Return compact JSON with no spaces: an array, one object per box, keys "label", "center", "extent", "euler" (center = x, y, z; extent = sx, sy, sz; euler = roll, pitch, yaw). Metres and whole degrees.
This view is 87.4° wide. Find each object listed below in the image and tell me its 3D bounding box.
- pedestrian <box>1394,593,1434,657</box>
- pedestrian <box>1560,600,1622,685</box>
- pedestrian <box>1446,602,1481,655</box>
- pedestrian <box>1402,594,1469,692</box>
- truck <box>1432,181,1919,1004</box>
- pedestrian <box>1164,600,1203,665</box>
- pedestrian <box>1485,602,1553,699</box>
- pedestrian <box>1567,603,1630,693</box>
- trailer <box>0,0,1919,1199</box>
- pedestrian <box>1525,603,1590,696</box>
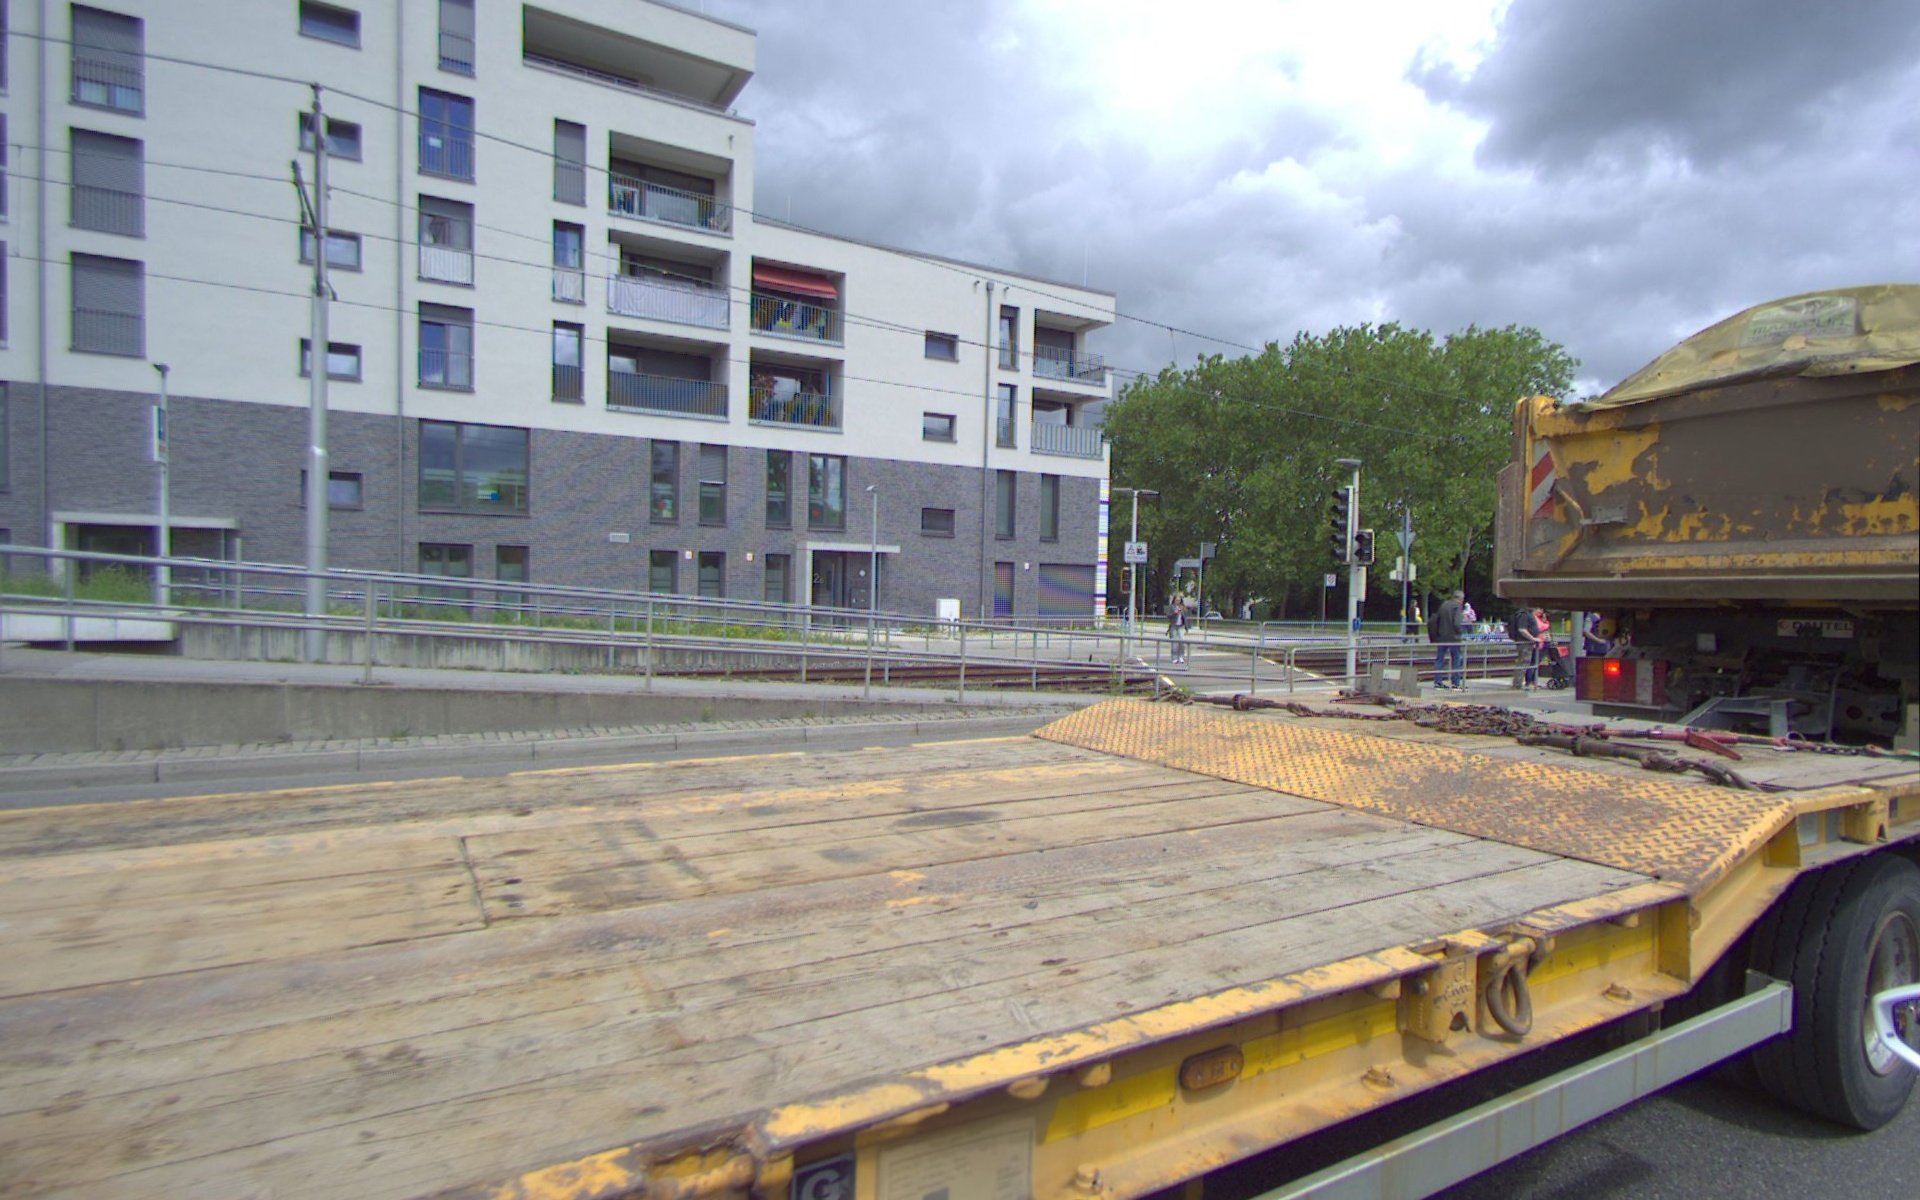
[{"label":"pedestrian","center":[16.204,0.885,35.853],"extent":[0.872,2.234,0.910],"euler":[1,1,-30]},{"label":"pedestrian","center":[13.214,0.867,21.027],"extent":[0.932,1.692,0.825],"euler":[0,2,-42]},{"label":"pedestrian","center":[21.137,1.188,42.167],"extent":[0.924,2.162,0.910],"euler":[1,1,-30]},{"label":"pedestrian","center":[8.511,0.744,17.991],"extent":[0.675,1.691,0.816],"euler":[1,1,-29]},{"label":"truck","center":[7.072,-0.006,6.891],"extent":[8.254,3.358,2.739],"euler":[1,1,-31]},{"label":"pedestrian","center":[5.361,0.771,24.103],"extent":[0.782,1.499,0.530],"euler":[1,1,3]},{"label":"pedestrian","center":[9.811,0.868,17.634],"extent":[0.813,1.624,0.678],"euler":[1,1,-31]},{"label":"pedestrian","center":[12.014,0.890,18.908],"extent":[0.813,1.624,0.678],"euler":[1,1,-31]},{"label":"trailer","center":[-1.188,-0.448,1.904],"extent":[11.122,3.607,2.715],"euler":[1,1,-31]},{"label":"pedestrian","center":[10.833,0.883,18.218],"extent":[0.813,1.624,0.678],"euler":[1,1,-31]}]
